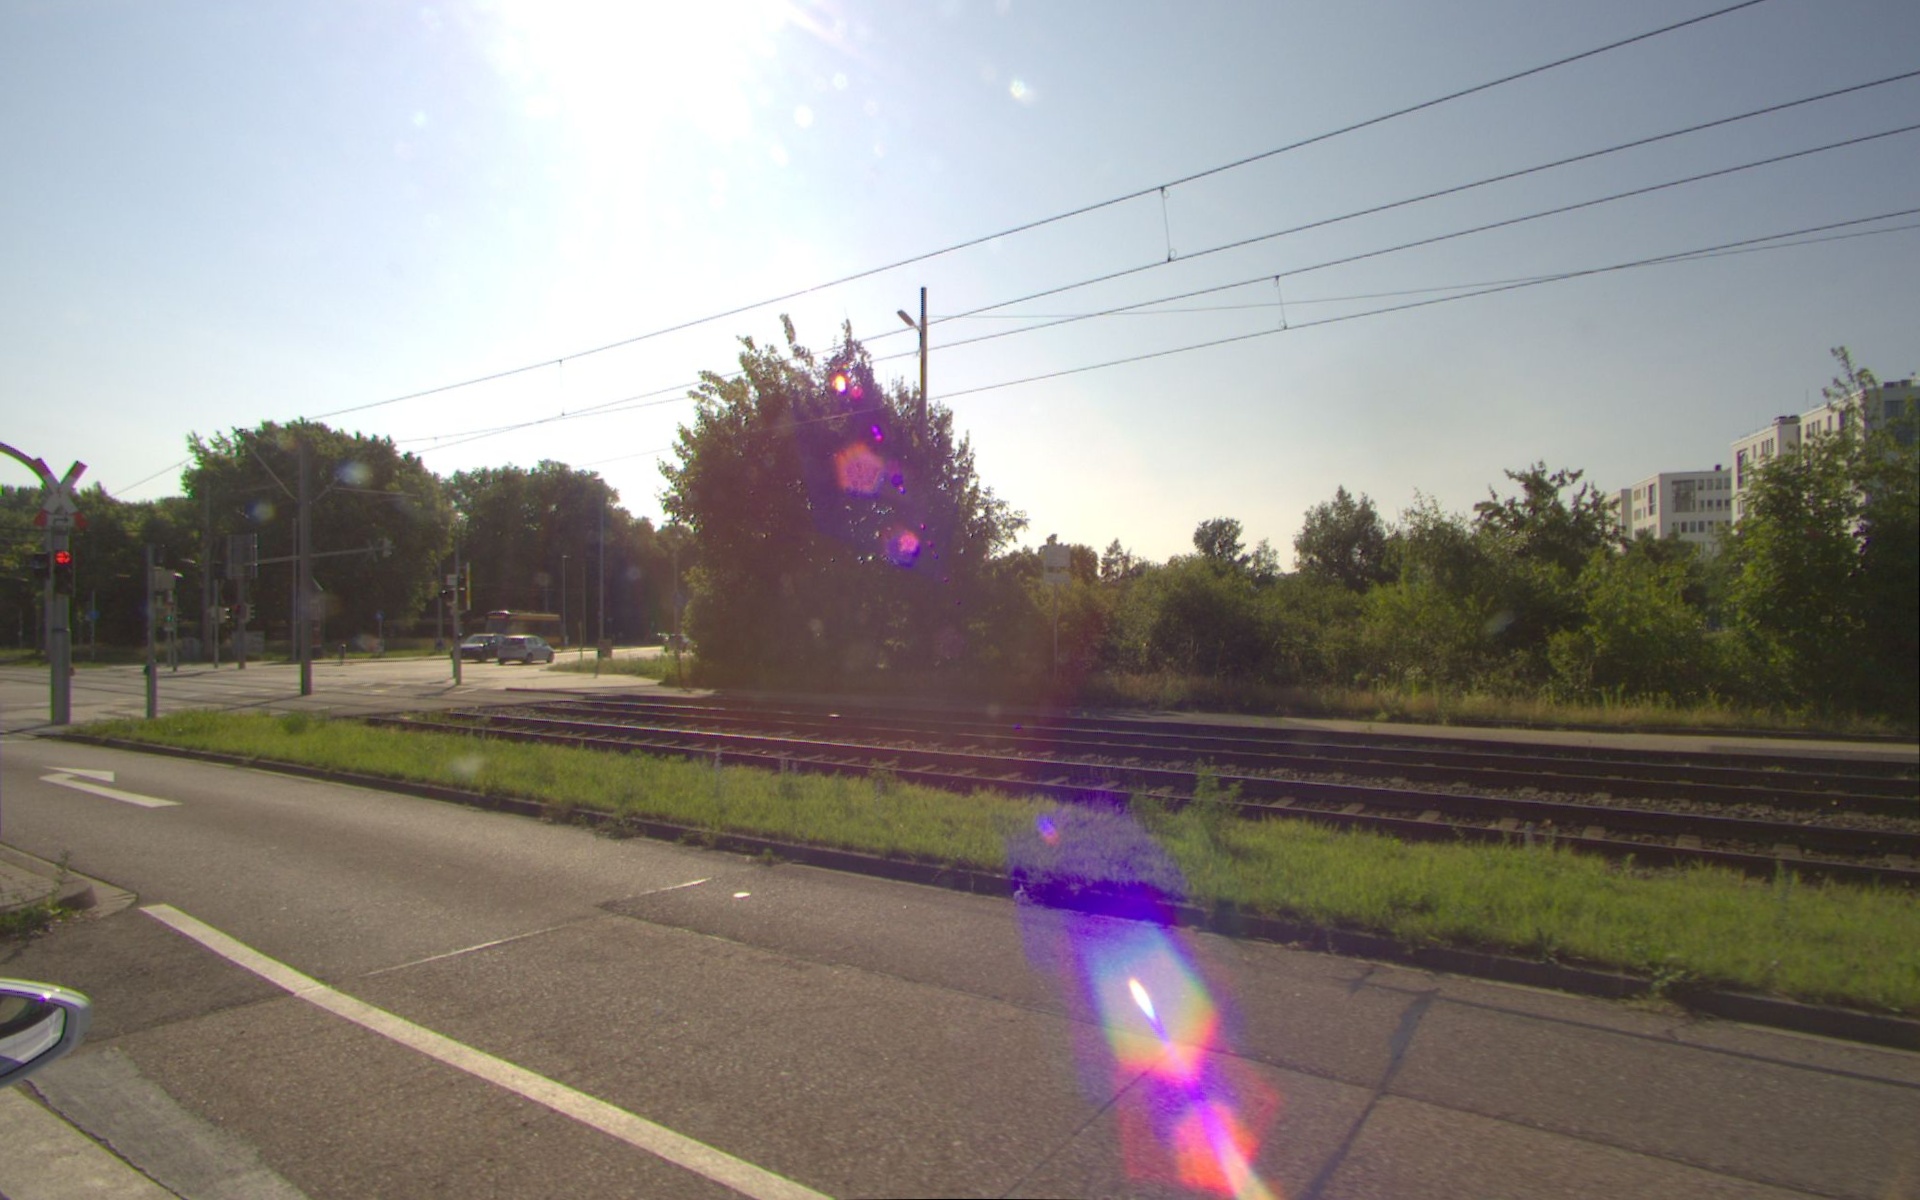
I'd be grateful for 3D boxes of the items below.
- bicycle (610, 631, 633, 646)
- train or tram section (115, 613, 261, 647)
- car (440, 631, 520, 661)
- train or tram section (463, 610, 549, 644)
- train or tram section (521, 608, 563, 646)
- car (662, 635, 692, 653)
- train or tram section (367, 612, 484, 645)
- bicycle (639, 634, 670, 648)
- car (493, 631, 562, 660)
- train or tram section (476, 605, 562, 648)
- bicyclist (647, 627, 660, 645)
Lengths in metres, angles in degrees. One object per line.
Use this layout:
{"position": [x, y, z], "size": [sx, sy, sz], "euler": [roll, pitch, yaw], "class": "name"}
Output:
{"position": [-40.298, 4.595, 119.223], "size": [2.562, 1.735, 0.795], "euler": [0, -1, -2], "class": "bicycle"}
{"position": [-84.340, 3.240, 109.786], "size": [12.247, 3.625, 3.042], "euler": [0, -1, -26], "class": "train or tram section"}
{"position": [-27.821, 2.656, 58.254], "size": [2.005, 1.583, 4.862], "euler": [0, -1, 5], "class": "car"}
{"position": [-50.891, 3.049, 112.002], "size": [12.065, 3.625, 3.036], "euler": [-1, -1, 34], "class": "train or tram section"}
{"position": [-43.092, 2.801, 103.072], "size": [3.008, 3.625, 12.179], "euler": [0, -2, -27], "class": "train or tram section"}
{"position": [-23.291, 3.624, 82.546], "size": [1.575, 1.401, 3.531], "euler": [0, -2, -1], "class": "car"}
{"position": [-61.788, 3.289, 115.917], "size": [11.992, 3.625, 3.055], "euler": [0, -1, 0], "class": "train or tram section"}
{"position": [-34.331, 4.614, 112.608], "size": [3.168, 1.472, 1.131], "euler": [-1, -2, 11], "class": "bicycle"}
{"position": [-24.594, 2.551, 57.057], "size": [1.820, 1.583, 4.205], "euler": [0, -1, 5], "class": "car"}
{"position": [-40.020, 2.413, 91.457], "size": [2.994, 3.625, 11.855], "euler": [0, -2, -2], "class": "train or tram section"}
{"position": [-34.483, 4.024, 112.636], "size": [1.078, 2.039, 1.140], "euler": [-1, -2, 10], "class": "bicyclist"}
